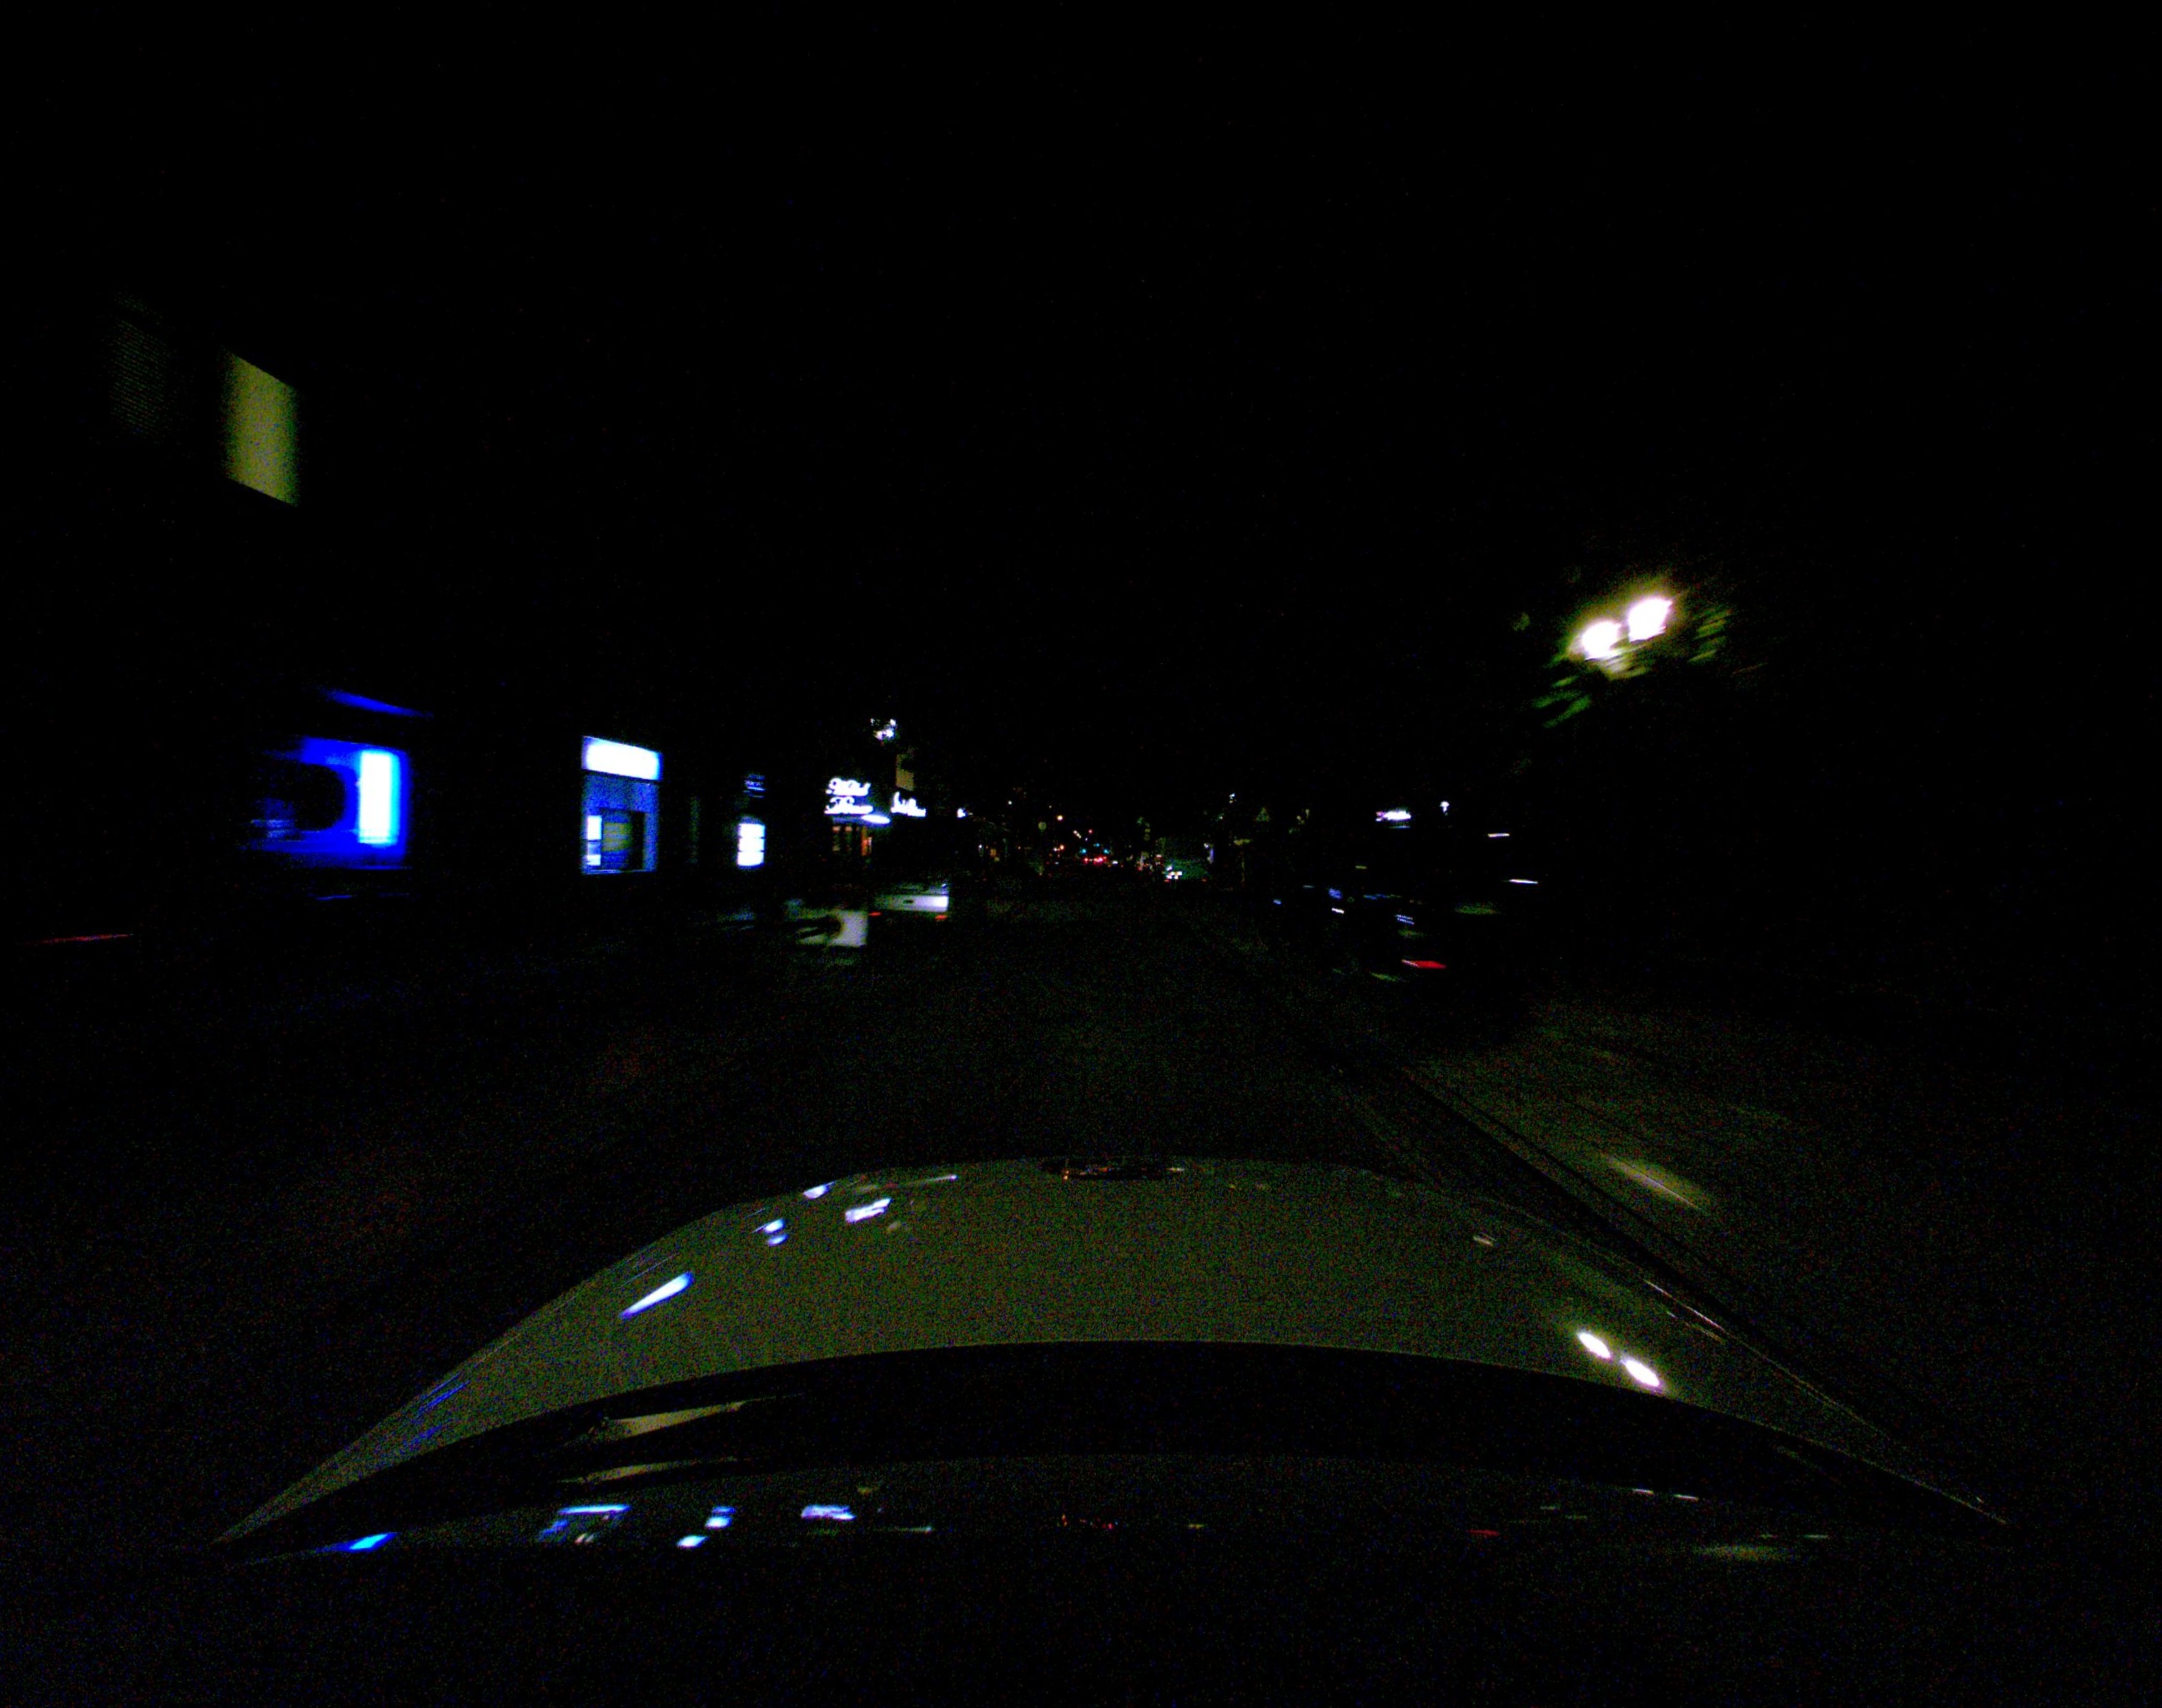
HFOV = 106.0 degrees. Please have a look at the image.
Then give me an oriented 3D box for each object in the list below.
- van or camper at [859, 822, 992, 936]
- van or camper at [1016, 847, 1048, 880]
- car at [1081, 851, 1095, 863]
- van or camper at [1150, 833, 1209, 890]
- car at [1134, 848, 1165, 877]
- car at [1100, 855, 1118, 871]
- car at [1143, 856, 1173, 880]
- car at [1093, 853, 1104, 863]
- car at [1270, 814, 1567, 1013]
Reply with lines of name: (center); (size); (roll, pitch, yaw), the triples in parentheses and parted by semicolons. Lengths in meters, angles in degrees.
van or camper: (-3.076, 0.460, 17.045); (1.860, 2.011, 4.261); (2, 0, 0)
van or camper: (-3.089, 0.574, 51.760); (1.931, 1.989, 3.842); (1, 0, -3)
car: (1.037, 0.476, 124.236); (1.987, 1.823, 4.000); (1, 0, 0)
van or camper: (4.249, 0.301, 35.730); (2.102, 2.317, 4.261); (-1, 0, 0)
car: (4.556, 0.550, 54.722); (1.832, 1.901, 3.847); (0, 0, 2)
car: (2.836, 0.858, 82.380); (1.832, 1.542, 3.847); (1, 0, 2)
car: (4.544, 0.808, 48.648); (1.525, 1.418, 3.847); (0, 0, 2)
car: (3.227, 0.719, 149.324); (1.987, 1.823, 4.000); (1, 0, 0)
car: (3.618, 0.553, 9.687); (1.808, 1.828, 4.347); (0, 0, 1)
